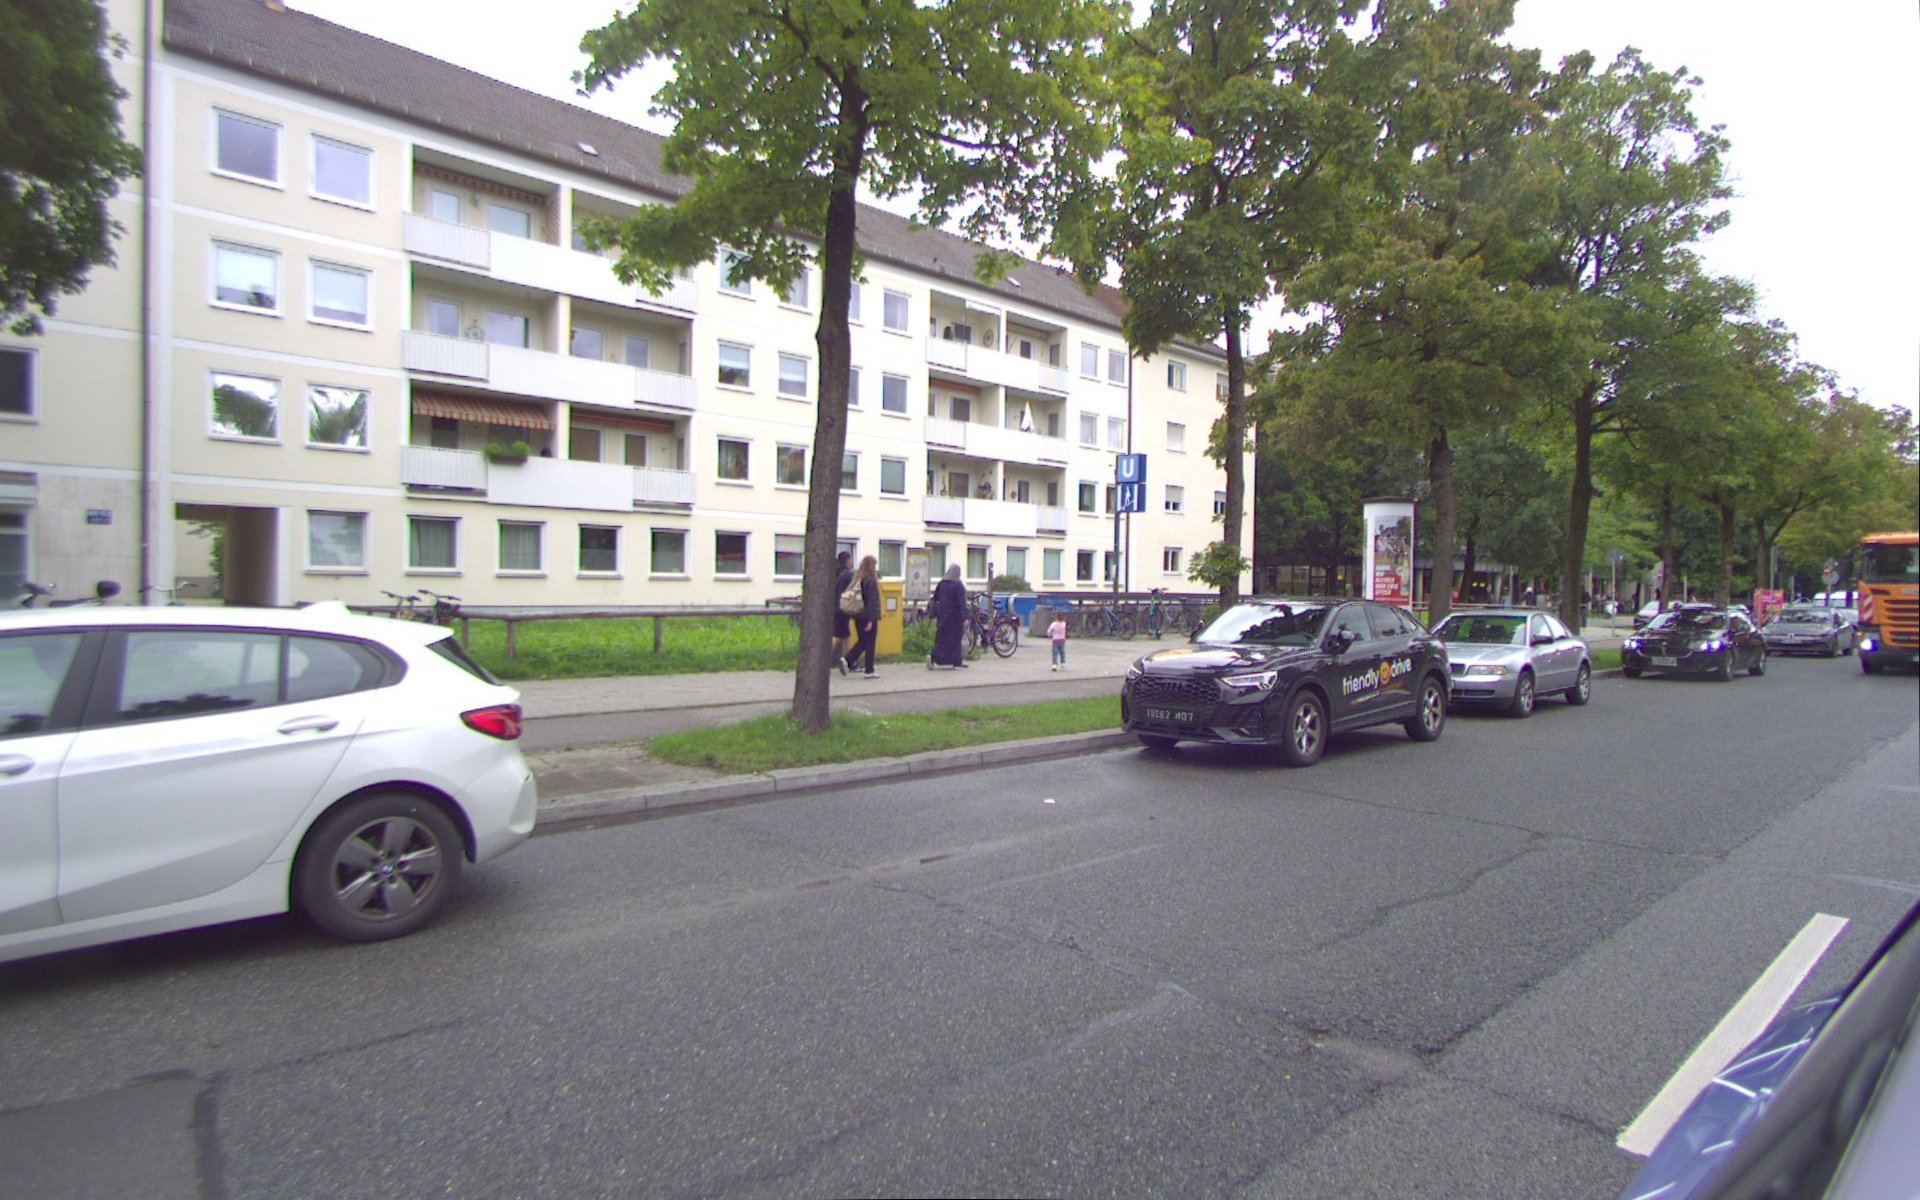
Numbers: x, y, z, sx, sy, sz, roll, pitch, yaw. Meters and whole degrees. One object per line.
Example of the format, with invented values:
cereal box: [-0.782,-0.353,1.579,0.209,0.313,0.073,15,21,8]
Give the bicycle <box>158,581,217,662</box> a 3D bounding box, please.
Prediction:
bicycle: [-9.781,0.242,12.792,0.548,0.951,1.881,0,0,-39]

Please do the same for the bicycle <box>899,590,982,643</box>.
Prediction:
bicycle: [-0.384,0.338,21.099,1.850,1.041,0.432,1,1,-40]

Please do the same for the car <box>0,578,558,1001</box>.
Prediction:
car: [-3.996,0.682,4.142,4.066,1.484,1.684,0,-1,-42]

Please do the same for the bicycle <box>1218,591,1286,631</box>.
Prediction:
bicycle: [8.266,0.292,28.730,0.425,1.041,1.879,0,2,-43]

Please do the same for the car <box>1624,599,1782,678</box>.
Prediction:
car: [15.537,0.729,21.097,4.102,1.484,1.754,0,0,-40]

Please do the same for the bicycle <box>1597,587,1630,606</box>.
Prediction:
bicycle: [57.368,-0.305,88.819,0.638,1.643,2.312,1,1,-40]

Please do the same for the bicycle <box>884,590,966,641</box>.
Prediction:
bicycle: [-0.729,0.322,21.528,1.850,1.041,0.432,1,1,-40]

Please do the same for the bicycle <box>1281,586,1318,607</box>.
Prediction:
bicycle: [16.895,-0.173,50.399,0.448,0.983,1.693,1,1,-44]

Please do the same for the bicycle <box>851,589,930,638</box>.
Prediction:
bicycle: [-1.531,0.296,22.490,1.850,1.041,0.432,1,1,-40]

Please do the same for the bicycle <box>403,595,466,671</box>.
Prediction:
bicycle: [-7.346,0.430,14.113,0.425,0.986,1.881,0,0,-39]

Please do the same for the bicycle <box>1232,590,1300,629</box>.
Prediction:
bicycle: [8.848,0.256,29.357,1.878,1.041,0.426,3,2,44]

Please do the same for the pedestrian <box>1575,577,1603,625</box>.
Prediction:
pedestrian: [23.878,0.044,38.439,0.834,1.771,0.640,1,2,-43]

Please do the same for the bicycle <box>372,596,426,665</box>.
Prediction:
bicycle: [-8.678,0.442,15.621,0.425,0.986,1.881,0,0,-39]

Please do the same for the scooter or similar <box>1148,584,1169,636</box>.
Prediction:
scooter or similar: [4.873,0.227,24.872,0.352,1.215,1.388,1,2,6]

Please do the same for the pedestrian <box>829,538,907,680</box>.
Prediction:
pedestrian: [-1.283,0.110,14.165,0.886,1.913,0.589,0,1,-42]

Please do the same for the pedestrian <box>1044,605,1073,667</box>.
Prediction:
pedestrian: [1.587,0.577,16.325,0.401,0.961,0.435,1,1,-2]

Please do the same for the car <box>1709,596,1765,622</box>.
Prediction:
car: [49.469,0.554,64.432,4.519,1.550,1.826,0,2,-39]

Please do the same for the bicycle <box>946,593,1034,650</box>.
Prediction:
bicycle: [0.596,0.400,19.387,1.850,1.041,0.432,1,1,-40]

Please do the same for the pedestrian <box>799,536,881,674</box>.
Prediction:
pedestrian: [-1.736,0.055,14.684,0.903,1.913,0.730,0,2,-42]

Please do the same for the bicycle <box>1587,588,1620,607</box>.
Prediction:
bicycle: [55.727,-0.247,87.656,0.638,1.551,2.312,1,1,-40]

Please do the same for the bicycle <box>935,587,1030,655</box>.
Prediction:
bicycle: [0.418,0.371,18.036,1.850,1.147,0.432,1,1,-40]

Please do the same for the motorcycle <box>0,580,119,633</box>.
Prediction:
motorcycle: [-18.438,0.116,20.728,1.873,1.036,0.605,0,0,-41]

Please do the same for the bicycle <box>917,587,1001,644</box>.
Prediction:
bicycle: [-0.001,0.307,20.499,1.850,1.115,0.432,1,1,-40]

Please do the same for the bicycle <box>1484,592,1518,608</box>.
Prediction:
bicycle: [38.460,-0.012,71.936,0.447,1.134,2.079,1,1,-40]

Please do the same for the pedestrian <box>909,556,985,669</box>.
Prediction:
pedestrian: [-0.202,0.172,15.805,0.820,1.702,0.840,0,1,-42]

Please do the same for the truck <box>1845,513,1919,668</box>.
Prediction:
truck: [23.574,-0.188,23.757,8.973,3.229,3.044,0,0,-41]

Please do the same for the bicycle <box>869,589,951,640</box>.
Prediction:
bicycle: [-1.063,0.304,21.879,1.850,1.041,0.432,1,1,-40]

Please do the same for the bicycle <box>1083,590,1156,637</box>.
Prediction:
bicycle: [3.866,0.312,24.704,0.425,1.041,1.879,0,2,-43]

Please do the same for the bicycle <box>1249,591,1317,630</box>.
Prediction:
bicycle: [9.409,0.291,29.544,1.876,1.041,0.426,3,2,42]

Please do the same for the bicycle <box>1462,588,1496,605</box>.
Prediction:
bicycle: [36.010,-0.248,70.201,0.447,1.134,2.079,1,1,-40]

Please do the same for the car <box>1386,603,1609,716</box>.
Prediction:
car: [7.824,0.742,14.546,4.174,1.403,1.637,0,0,-44]

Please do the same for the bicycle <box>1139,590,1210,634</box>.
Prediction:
bicycle: [5.564,0.295,26.367,0.425,1.041,1.879,0,2,-43]

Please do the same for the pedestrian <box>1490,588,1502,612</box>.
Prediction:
pedestrian: [35.562,0.000,67.147,0.626,1.561,0.654,3,3,28]

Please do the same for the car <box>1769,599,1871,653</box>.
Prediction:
car: [25.725,0.732,30.234,4.042,1.484,1.685,0,0,-40]

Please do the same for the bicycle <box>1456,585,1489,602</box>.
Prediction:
bicycle: [35.982,-0.457,71.086,0.447,1.134,2.079,1,1,-40]

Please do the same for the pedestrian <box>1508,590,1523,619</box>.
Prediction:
pedestrian: [29.984,0.240,54.631,0.574,1.594,0.775,0,0,22]

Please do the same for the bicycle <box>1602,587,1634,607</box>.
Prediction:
bicycle: [58.087,-0.278,89.345,0.638,1.643,2.312,1,1,-40]

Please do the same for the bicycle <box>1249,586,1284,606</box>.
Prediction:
bicycle: [15.639,-0.193,51.667,0.448,0.983,1.693,1,1,-44]

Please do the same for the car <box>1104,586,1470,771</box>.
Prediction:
car: [3.529,0.664,10.528,4.201,1.552,1.719,0,0,-41]

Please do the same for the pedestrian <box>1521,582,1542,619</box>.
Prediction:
pedestrian: [27.674,0.020,49.030,0.628,1.752,0.602,0,0,-8]

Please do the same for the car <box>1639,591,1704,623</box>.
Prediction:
car: [38.984,0.378,55.440,4.122,1.654,1.826,0,2,-39]
